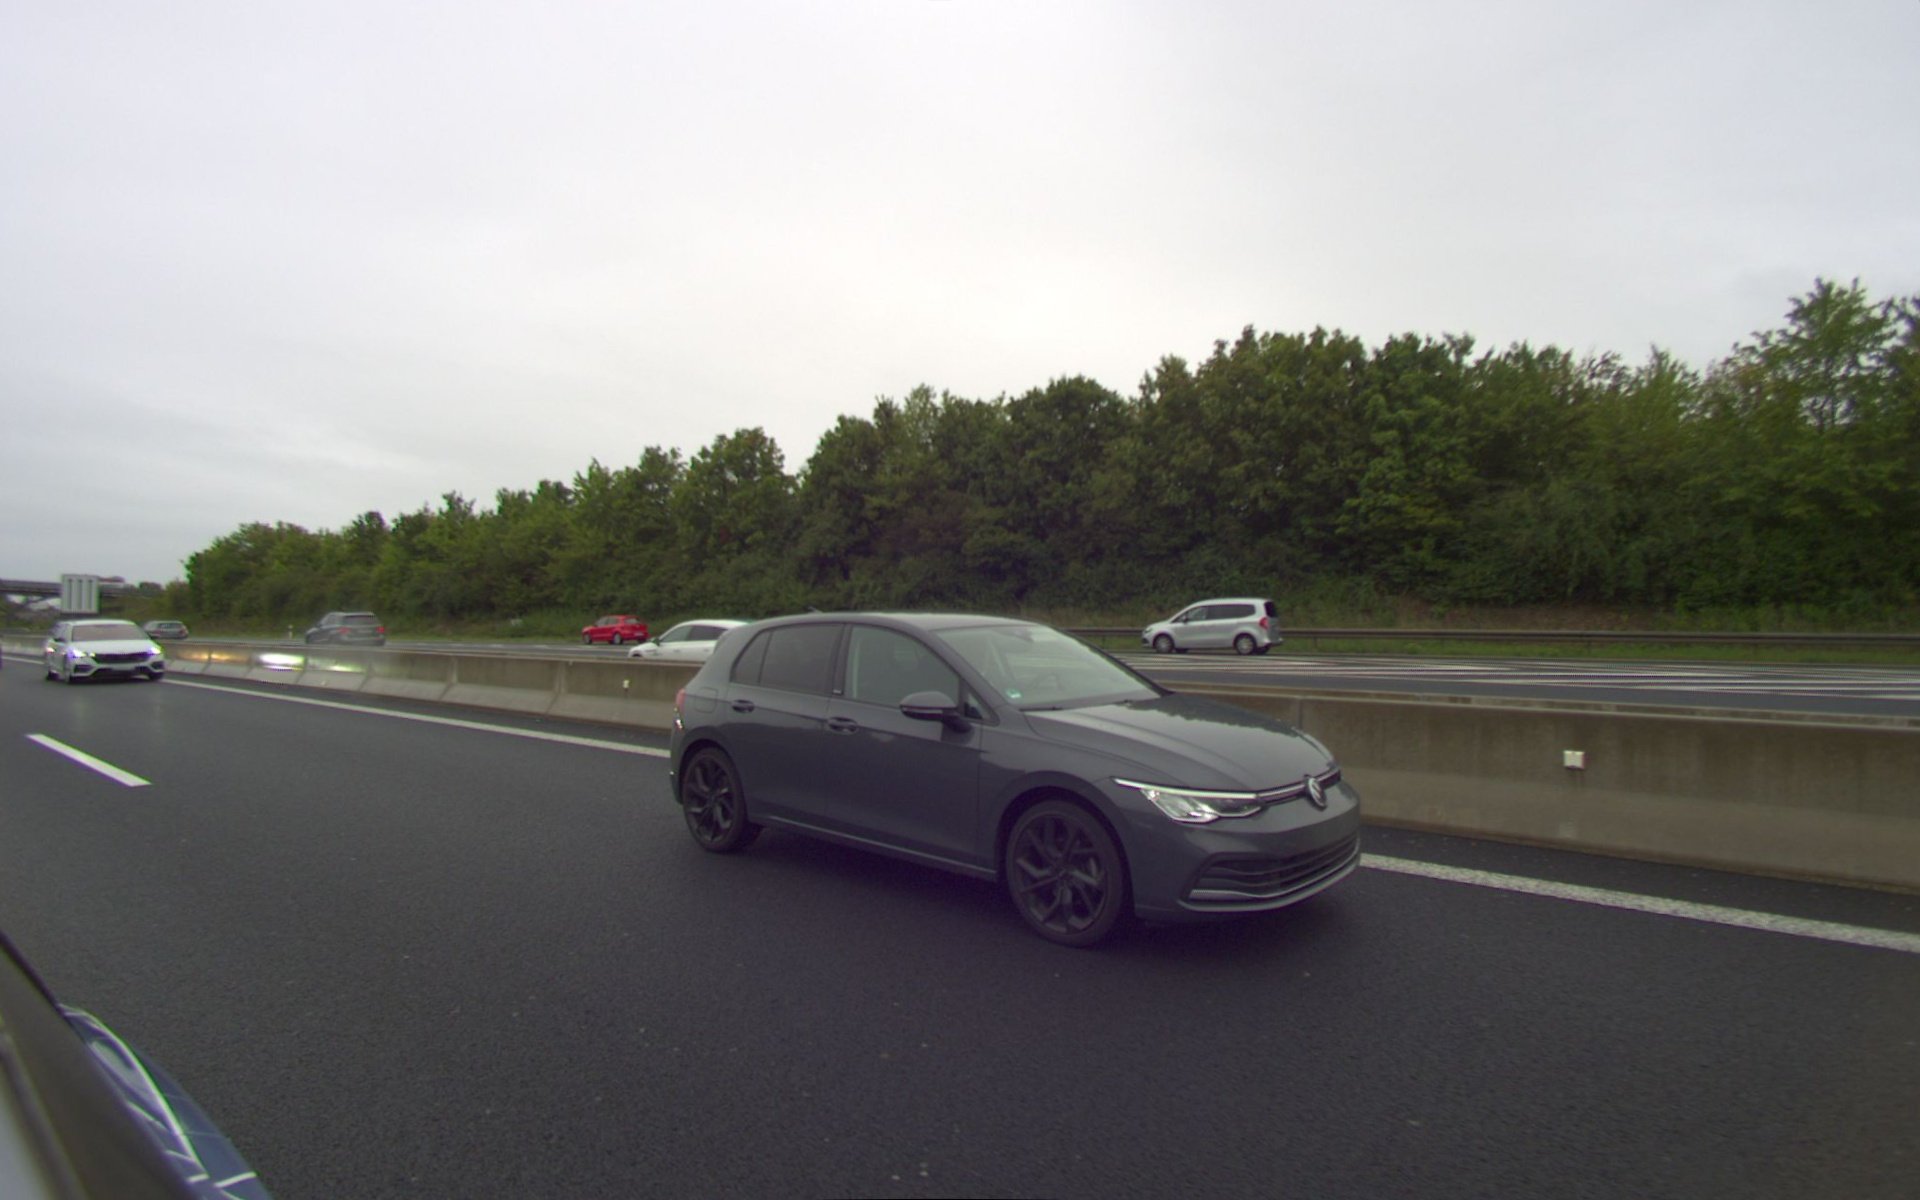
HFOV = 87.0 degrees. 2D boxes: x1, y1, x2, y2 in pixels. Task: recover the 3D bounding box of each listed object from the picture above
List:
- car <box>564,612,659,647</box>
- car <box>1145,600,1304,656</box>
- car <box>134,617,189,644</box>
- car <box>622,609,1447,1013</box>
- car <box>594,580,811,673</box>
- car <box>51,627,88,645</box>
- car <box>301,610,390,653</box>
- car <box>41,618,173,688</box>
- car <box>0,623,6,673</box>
[{"bbox_3d":[-17.889,1.490,51.896,4.611,1.708,2.164,-1,-1,31],"label":"car"},{"bbox_3d":[8.533,0.895,32.757,4.554,1.708,2.163,-1,-1,33],"label":"car"},{"bbox_3d":[-53.270,2.003,67.468,5.251,1.708,2.155,-2,-1,44],"label":"car"},{"bbox_3d":[0.113,0.794,5.761,4.457,1.416,1.881,-2,-1,41],"label":"car"},{"bbox_3d":[-5.483,0.540,21.168,4.865,1.708,2.155,-2,-1,44],"label":"car"},{"bbox_3d":[-85.363,3.443,96.979,4.535,1.647,2.157,-2,-1,42],"label":"car"},{"bbox_3d":[-26.400,1.330,43.427,4.733,1.708,2.155,-2,-1,44],"label":"car"},{"bbox_3d":[-20.452,1.216,24.207,4.113,1.518,1.880,-2,-1,42],"label":"car"},{"bbox_3d":[-31.344,1.493,31.640,4.113,1.518,1.880,-2,-1,42],"label":"car"}]
